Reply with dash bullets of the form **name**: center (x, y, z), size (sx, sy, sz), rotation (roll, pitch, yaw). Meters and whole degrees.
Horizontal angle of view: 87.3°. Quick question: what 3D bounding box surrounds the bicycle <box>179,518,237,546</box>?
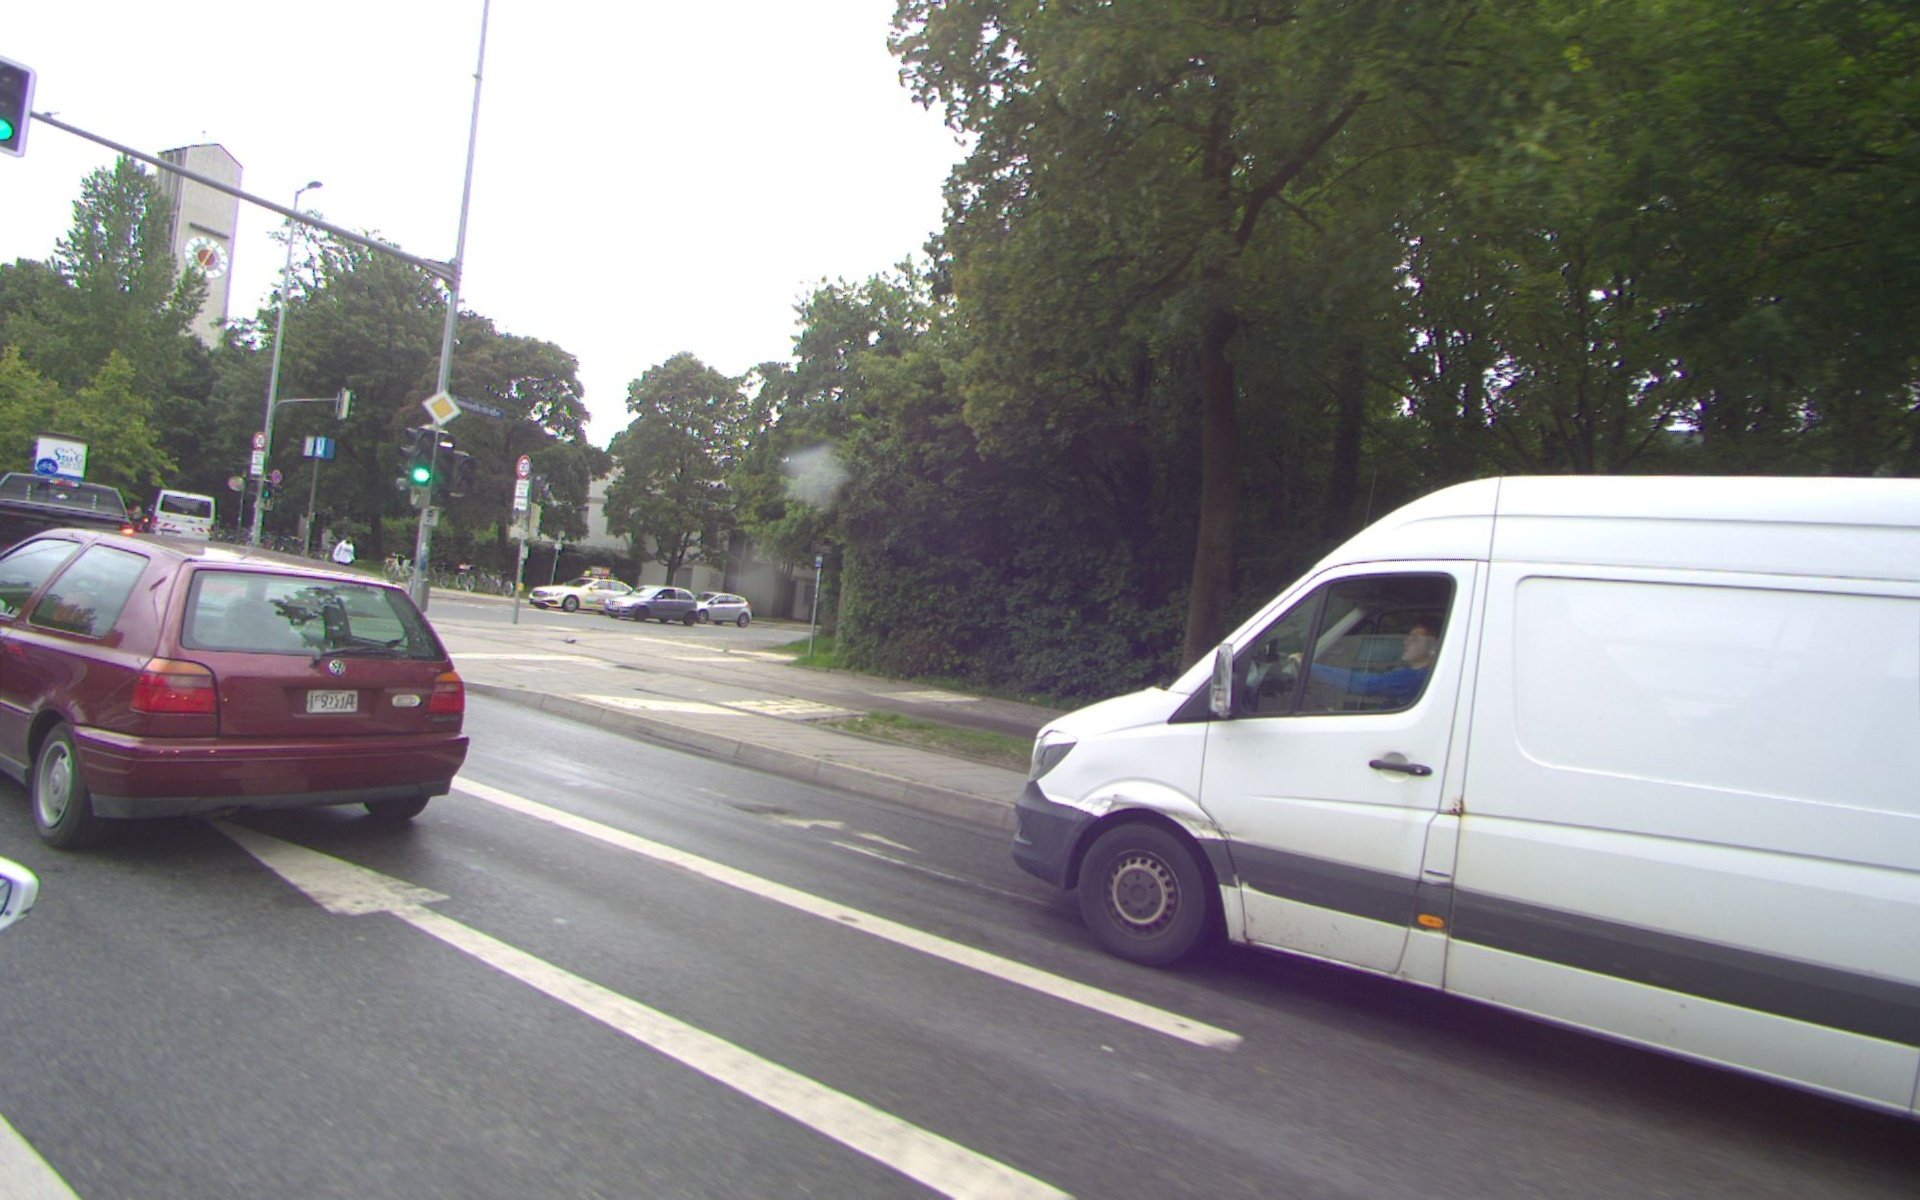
- **bicycle**: center (-39.236, -3.538, 52.532), size (0.520, 1.172, 2.339), rotation (7, 2, 32)

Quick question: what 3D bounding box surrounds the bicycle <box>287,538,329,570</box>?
- **bicycle**: center (-28.352, -1.993, 43.753), size (2.095, 1.167, 0.716), rotation (7, 0, 35)

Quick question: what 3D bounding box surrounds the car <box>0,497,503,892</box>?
- **car**: center (-4.533, 0.277, 5.621), size (3.885, 1.471, 1.624), rotation (7, -1, 32)

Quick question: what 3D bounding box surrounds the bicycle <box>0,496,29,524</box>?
- **bicycle**: center (-44.157, -4.199, 45.922), size (0.520, 1.172, 2.339), rotation (7, 2, 32)

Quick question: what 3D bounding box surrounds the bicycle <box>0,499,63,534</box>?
- **bicycle**: center (-37.907, -3.403, 41.075), size (0.557, 1.157, 1.811), rotation (7, 1, 21)

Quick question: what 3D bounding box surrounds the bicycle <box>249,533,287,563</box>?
- **bicycle**: center (-31.096, -2.331, 45.225), size (0.708, 1.167, 2.121), rotation (7, -1, -17)

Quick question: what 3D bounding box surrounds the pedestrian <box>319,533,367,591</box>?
- **pedestrian**: center (-19.809, -1.216, 32.299), size (0.922, 1.724, 0.761), rotation (7, 0, 23)

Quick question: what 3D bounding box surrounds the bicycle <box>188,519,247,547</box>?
- **bicycle**: center (-38.355, -3.432, 51.990), size (0.520, 1.172, 2.339), rotation (7, 2, 32)

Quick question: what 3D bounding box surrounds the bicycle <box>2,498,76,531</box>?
- **bicycle**: center (-41.298, -3.835, 45.120), size (0.575, 1.172, 2.339), rotation (7, 2, 32)

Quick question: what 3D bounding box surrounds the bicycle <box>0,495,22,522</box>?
- **bicycle**: center (-45.045, -4.334, 46.528), size (0.520, 1.172, 2.339), rotation (7, 2, 32)

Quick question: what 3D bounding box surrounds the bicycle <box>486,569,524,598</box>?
- **bicycle**: center (-20.294, -0.741, 44.857), size (2.084, 1.108, 0.607), rotation (7, 0, 41)

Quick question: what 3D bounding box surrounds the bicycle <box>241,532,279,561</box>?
- **bicycle**: center (-32.299, -2.457, 46.444), size (0.708, 1.167, 2.121), rotation (7, -1, -17)

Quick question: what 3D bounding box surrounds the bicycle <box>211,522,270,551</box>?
- **bicycle**: center (-35.836, -3.141, 50.140), size (0.520, 1.172, 2.339), rotation (7, 2, 32)

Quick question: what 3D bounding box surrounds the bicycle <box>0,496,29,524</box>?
- **bicycle**: center (-44.536, -4.228, 46.336), size (0.520, 1.172, 2.339), rotation (7, 2, 32)

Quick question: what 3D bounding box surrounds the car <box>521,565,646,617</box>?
- **car**: center (-14.721, -0.321, 39.587), size (1.855, 1.515, 4.309), rotation (7, -1, 29)

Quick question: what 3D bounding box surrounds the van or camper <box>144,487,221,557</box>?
- **van or camper**: center (-31.647, -3.170, 40.852), size (2.133, 2.324, 6.131), rotation (7, -1, -39)

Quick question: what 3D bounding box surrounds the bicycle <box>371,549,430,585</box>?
- **bicycle**: center (-24.253, -1.444, 43.626), size (2.074, 1.266, 0.704), rotation (7, 0, 6)

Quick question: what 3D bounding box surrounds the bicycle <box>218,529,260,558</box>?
- **bicycle**: center (-33.648, -2.630, 46.999), size (0.707, 1.167, 2.124), rotation (7, -1, -12)

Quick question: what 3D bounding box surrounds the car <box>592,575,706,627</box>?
- **car**: center (-11.723, 0.065, 38.185), size (1.601, 1.471, 3.942), rotation (7, -1, 32)

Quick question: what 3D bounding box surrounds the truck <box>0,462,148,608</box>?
- **truck**: center (-15.879, -1.187, 17.744), size (2.091, 2.038, 5.746), rotation (7, -1, -41)

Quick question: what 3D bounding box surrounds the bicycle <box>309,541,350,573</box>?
- **bicycle**: center (-27.853, -1.899, 44.406), size (2.095, 1.167, 0.696), rotation (7, 0, 35)

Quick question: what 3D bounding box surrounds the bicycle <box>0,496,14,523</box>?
- **bicycle**: center (-43.134, -4.091, 44.092), size (0.575, 1.172, 2.339), rotation (7, 2, 32)

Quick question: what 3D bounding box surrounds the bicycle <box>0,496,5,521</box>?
- **bicycle**: center (-47.747, -4.559, 48.519), size (0.520, 1.172, 2.339), rotation (7, 2, 32)

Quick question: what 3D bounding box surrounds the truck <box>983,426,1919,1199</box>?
- **truck**: center (3.799, 0.818, 4.394), size (7.107, 2.634, 1.997), rotation (7, -1, 31)

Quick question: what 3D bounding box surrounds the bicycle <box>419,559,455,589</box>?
- **bicycle**: center (-22.961, -1.148, 44.142), size (2.084, 1.108, 0.607), rotation (7, 0, 41)

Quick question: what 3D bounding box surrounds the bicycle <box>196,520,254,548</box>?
- **bicycle**: center (-37.722, -3.354, 51.668), size (0.520, 1.172, 2.339), rotation (7, 2, 32)

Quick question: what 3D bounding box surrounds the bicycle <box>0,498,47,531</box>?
- **bicycle**: center (-39.171, -3.558, 41.741), size (0.559, 1.157, 1.803), rotation (7, 1, 41)

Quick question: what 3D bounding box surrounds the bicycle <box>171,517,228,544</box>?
- **bicycle**: center (-40.602, -3.688, 53.731), size (0.520, 1.172, 2.339), rotation (7, 2, 32)

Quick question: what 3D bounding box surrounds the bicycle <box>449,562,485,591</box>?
- **bicycle**: center (-21.634, -1.038, 44.121), size (2.085, 1.108, 0.607), rotation (7, 0, 42)

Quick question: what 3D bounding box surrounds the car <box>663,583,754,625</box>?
- **car**: center (-11.298, 0.210, 45.468), size (1.600, 1.471, 3.944), rotation (7, -1, 30)

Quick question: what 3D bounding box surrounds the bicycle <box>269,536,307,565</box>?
- **bicycle**: center (-30.338, -2.214, 45.435), size (0.708, 1.167, 2.121), rotation (7, -1, -17)

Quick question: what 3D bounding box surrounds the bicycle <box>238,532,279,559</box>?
- **bicycle**: center (-34.543, -2.662, 49.585), size (0.706, 1.167, 2.125), rotation (7, -1, -10)

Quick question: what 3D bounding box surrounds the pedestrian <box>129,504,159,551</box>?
- **pedestrian**: center (-29.204, -2.586, 36.018), size (0.687, 1.557, 0.730), rotation (7, 0, -38)

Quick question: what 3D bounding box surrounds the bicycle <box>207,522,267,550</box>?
- **bicycle**: center (-36.285, -3.191, 50.517), size (0.520, 1.172, 2.339), rotation (7, 2, 32)

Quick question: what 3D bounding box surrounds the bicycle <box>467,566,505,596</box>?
- **bicycle**: center (-21.040, -0.857, 44.631), size (2.084, 1.108, 0.607), rotation (7, 0, 41)
